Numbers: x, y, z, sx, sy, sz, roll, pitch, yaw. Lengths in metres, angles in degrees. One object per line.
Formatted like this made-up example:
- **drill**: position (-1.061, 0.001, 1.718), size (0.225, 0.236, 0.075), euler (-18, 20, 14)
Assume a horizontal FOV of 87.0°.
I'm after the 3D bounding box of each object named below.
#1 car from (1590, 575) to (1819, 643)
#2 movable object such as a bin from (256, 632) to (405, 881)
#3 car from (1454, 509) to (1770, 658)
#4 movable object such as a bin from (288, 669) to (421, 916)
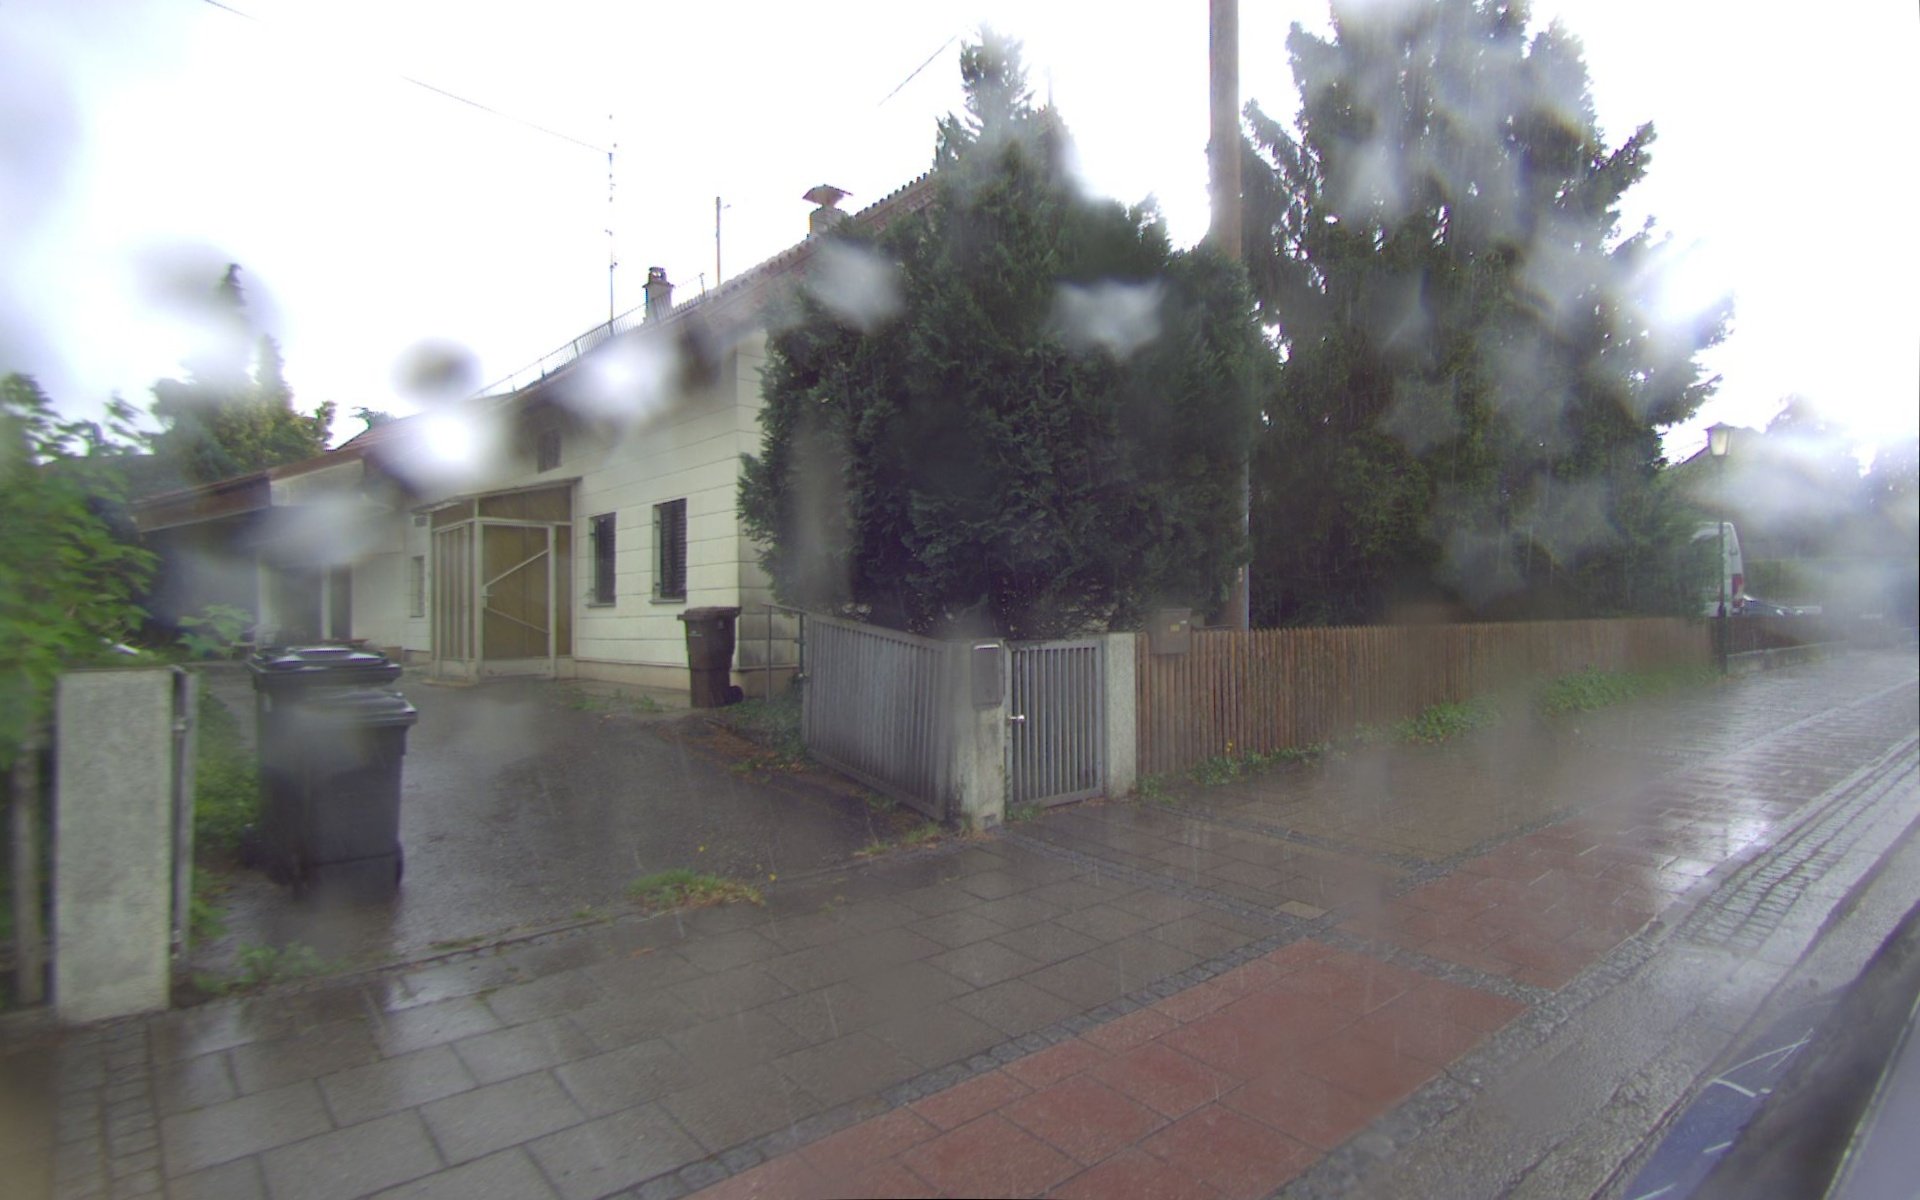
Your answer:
- **car**: position (18.533, 0.158, 25.315), size (4.429, 1.438, 1.802), euler (3, 3, 43)
- **movable object such as a bin**: position (-3.049, 0.710, 4.893), size (0.543, 1.053, 0.576), euler (0, 2, -40)
- **car**: position (13.461, -0.416, 21.145), size (5.299, 2.761, 1.971), euler (3, 2, 41)
- **movable object such as a bin**: position (-2.654, 0.807, 4.429), size (0.439, 0.947, 0.434), euler (0, 2, -40)
